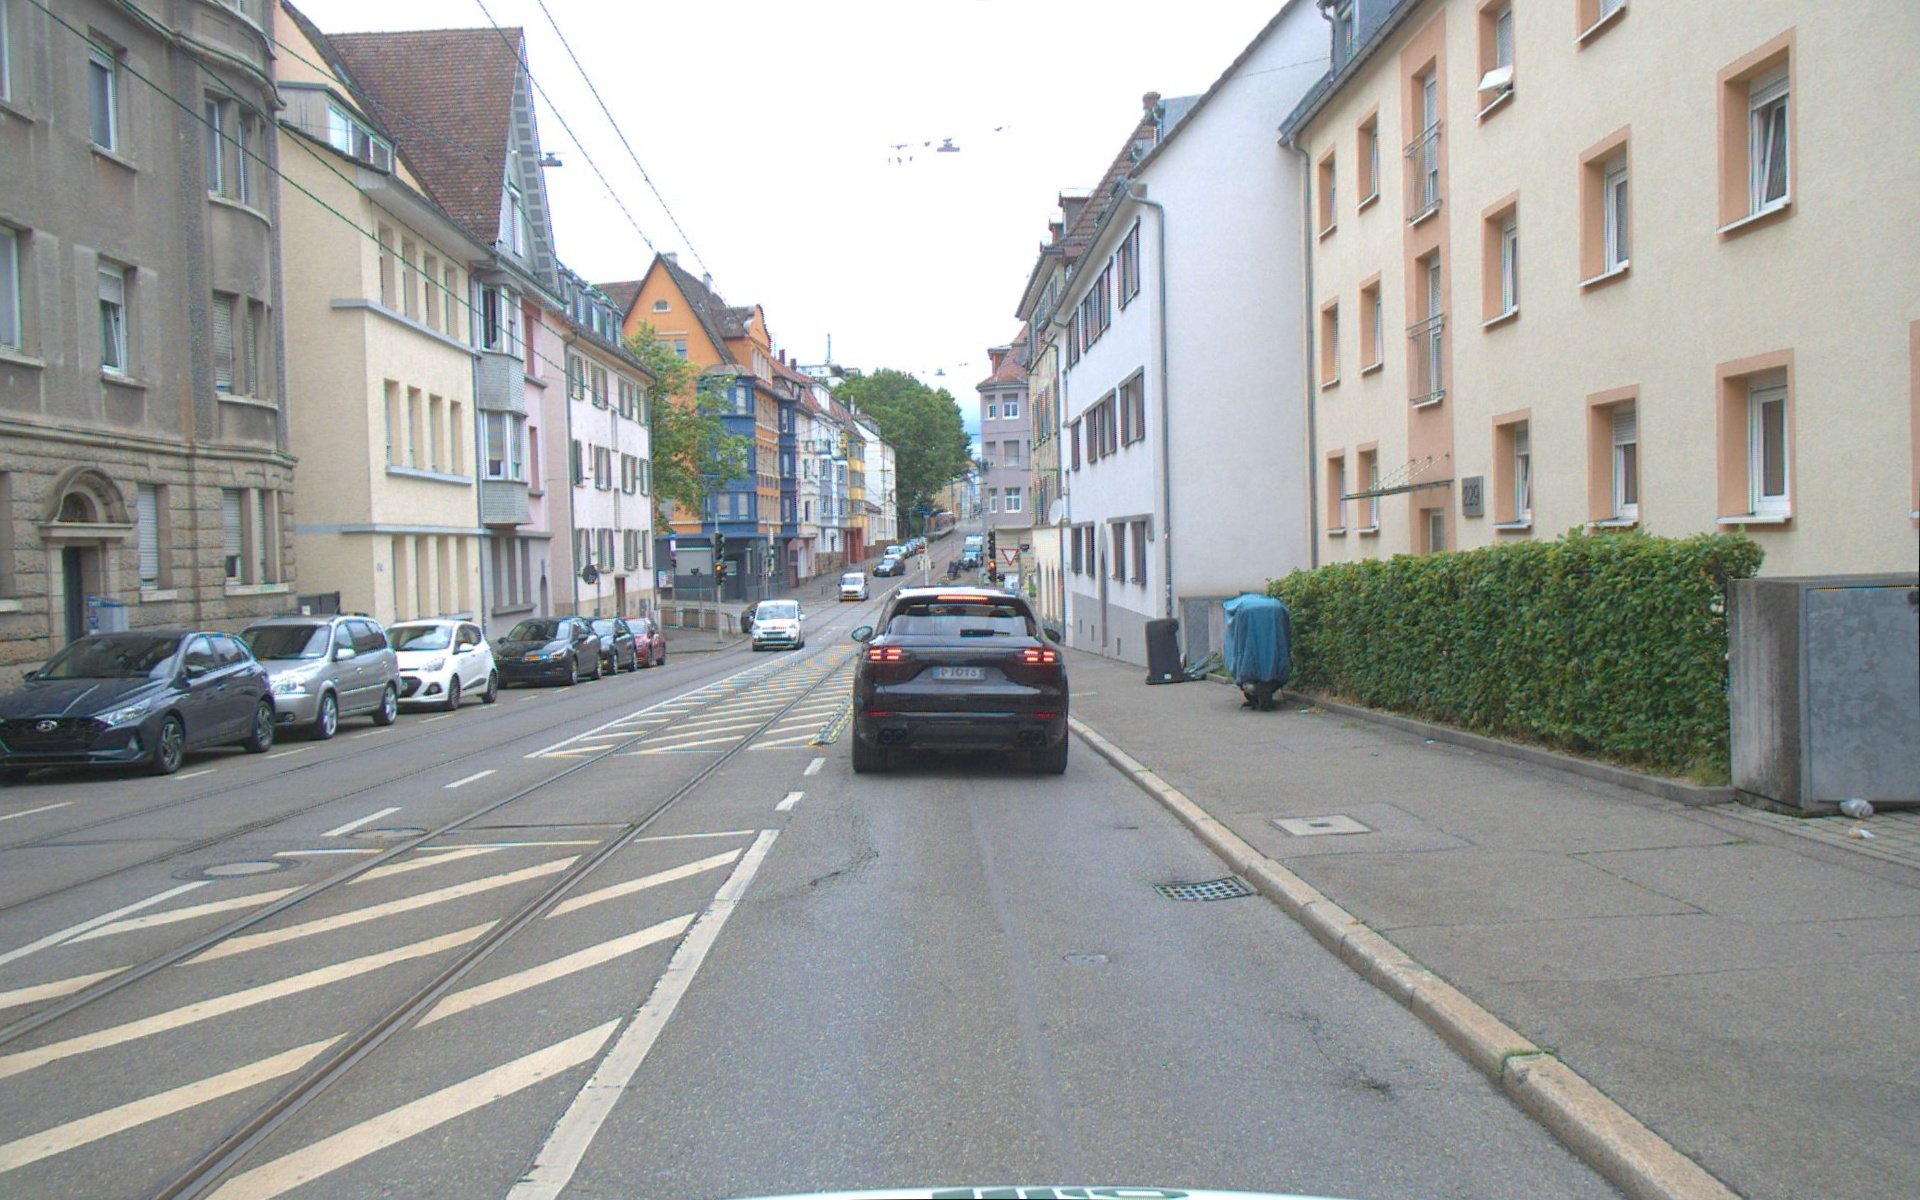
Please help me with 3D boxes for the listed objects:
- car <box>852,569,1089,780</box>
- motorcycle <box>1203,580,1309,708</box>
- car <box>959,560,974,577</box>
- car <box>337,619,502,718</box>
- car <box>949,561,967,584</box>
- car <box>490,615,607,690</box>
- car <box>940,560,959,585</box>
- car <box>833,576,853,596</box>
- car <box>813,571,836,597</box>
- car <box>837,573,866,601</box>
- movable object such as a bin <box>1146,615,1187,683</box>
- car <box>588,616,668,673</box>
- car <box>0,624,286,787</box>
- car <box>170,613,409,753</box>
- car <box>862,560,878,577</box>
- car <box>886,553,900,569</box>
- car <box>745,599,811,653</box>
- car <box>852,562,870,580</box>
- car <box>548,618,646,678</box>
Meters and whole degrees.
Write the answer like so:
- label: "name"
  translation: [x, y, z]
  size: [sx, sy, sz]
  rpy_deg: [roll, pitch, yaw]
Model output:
- label: "car"
  translation: [0.038, 0.654, 15.939]
  size: [1.953, 1.705, 3.998]
  rpy_deg: [-2, -1, -2]
- label: "motorcycle"
  translation: [3.698, 0.536, 20.870]
  size: [0.821, 1.482, 2.552]
  rpy_deg: [-2, -1, 0]
- label: "car"
  translation: [0.635, -3.085, 161.033]
  size: [1.366, 1.476, 3.358]
  rpy_deg: [-2, -1, -1]
- label: "car"
  translation: [-9.102, 1.135, 28.141]
  size: [1.588, 1.489, 3.684]
  rpy_deg: [-3, -1, -1]
- label: "car"
  translation: [-0.168, -2.252, 135.396]
  size: [1.366, 1.752, 3.358]
  rpy_deg: [-2, -1, -1]
- label: "car"
  translation: [-9.095, 1.159, 36.861]
  size: [1.588, 1.499, 4.553]
  rpy_deg: [-3, -1, -3]
- label: "car"
  translation: [-0.827, -2.112, 128.648]
  size: [1.366, 1.752, 3.358]
  rpy_deg: [-2, -1, -1]
- label: "car"
  translation: [-9.540, -1.144, 134.803]
  size: [1.366, 1.476, 3.358]
  rpy_deg: [-2, -1, -1]
- label: "car"
  translation: [-9.959, -1.174, 121.930]
  size: [1.366, 1.752, 3.358]
  rpy_deg: [-2, -1, -1]
- label: "car"
  translation: [-7.390, -0.857, 112.984]
  size: [1.715, 1.790, 4.253]
  rpy_deg: [-2, -1, -1]
- label: "movable object such as a bin"
  translation: [3.451, 0.813, 27.669]
  size: [0.576, 1.099, 0.692]
  rpy_deg: [-2, -1, 1]
- label: "car"
  translation: [-9.554, 1.279, 47.830]
  size: [1.588, 1.516, 4.045]
  rpy_deg: [-3, -1, -3]
- label: "car"
  translation: [-8.831, 1.067, 17.823]
  size: [1.588, 1.489, 4.030]
  rpy_deg: [-3, -1, -3]
- label: "car"
  translation: [-8.956, 1.074, 22.475]
  size: [1.588, 1.632, 4.348]
  rpy_deg: [-3, -1, -3]
- label: "car"
  translation: [-8.455, -2.961, 155.760]
  size: [1.366, 1.476, 3.358]
  rpy_deg: [-2, -1, -1]
- label: "car"
  translation: [-7.014, -4.095, 172.960]
  size: [1.366, 1.476, 3.358]
  rpy_deg: [-2, -1, -1]
- label: "car"
  translation: [-6.645, 0.941, 60.720]
  size: [1.882, 1.850, 4.217]
  rpy_deg: [-2, -1, 0]
- label: "car"
  translation: [-8.933, -2.593, 149.193]
  size: [1.366, 1.476, 3.358]
  rpy_deg: [-2, -1, -1]
- label: "car"
  translation: [-9.360, 1.214, 42.942]
  size: [1.701, 1.435, 3.999]
  rpy_deg: [-2, -1, -1]
